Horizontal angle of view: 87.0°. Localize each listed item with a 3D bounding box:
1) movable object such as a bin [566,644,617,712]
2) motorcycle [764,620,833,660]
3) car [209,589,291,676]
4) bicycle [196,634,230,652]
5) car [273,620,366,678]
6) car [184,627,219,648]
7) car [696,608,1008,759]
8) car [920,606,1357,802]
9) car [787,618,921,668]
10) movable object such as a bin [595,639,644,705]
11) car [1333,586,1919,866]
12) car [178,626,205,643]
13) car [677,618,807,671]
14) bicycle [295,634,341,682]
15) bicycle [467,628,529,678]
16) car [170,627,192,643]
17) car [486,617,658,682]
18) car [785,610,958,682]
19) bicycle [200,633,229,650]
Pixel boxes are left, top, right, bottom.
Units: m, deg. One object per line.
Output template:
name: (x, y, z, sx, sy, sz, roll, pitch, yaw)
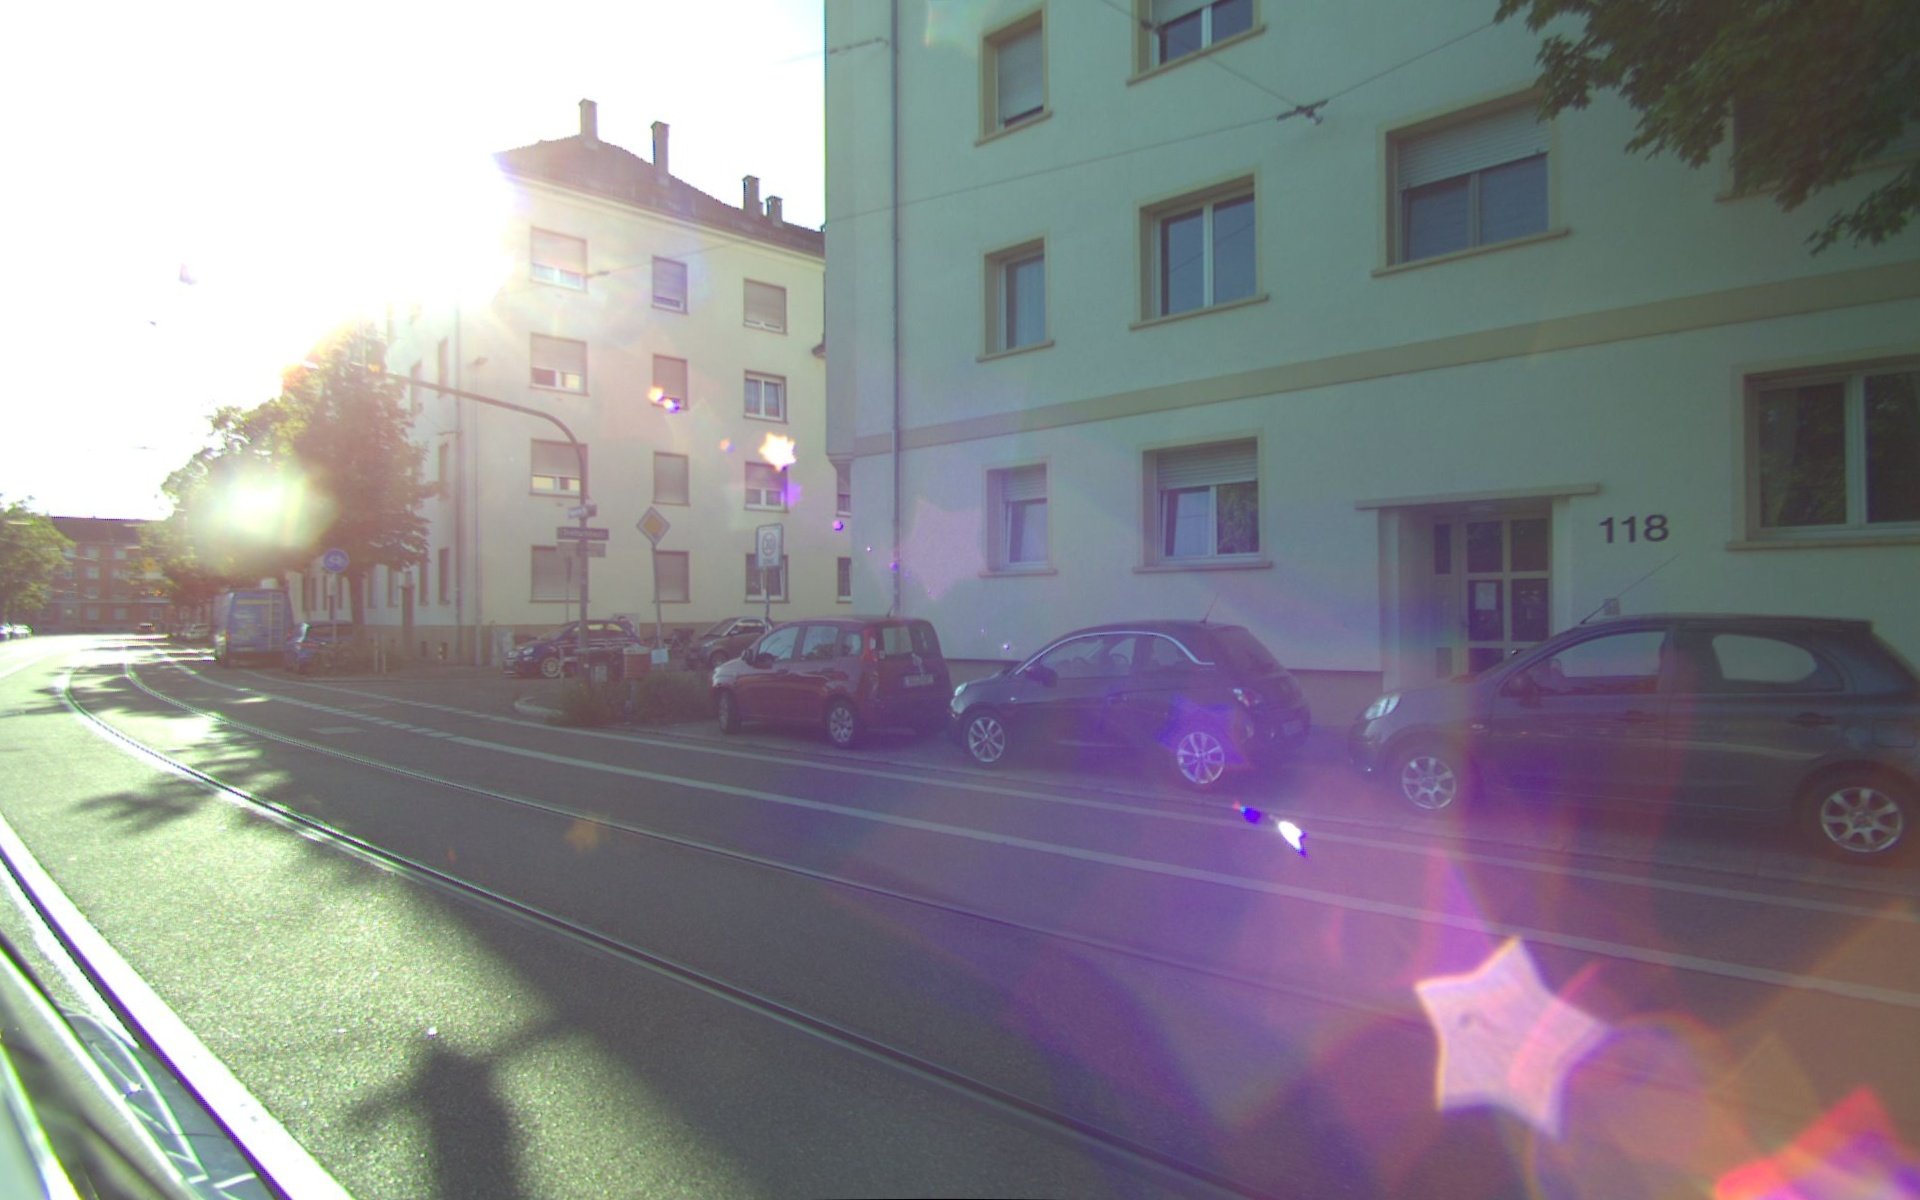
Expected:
movable object such as a bin: (-5.766, 1.206, 15.816, 0.659, 0.995, 0.479, -2, 0, 43)
motorcycle: (-5.593, 1.366, 35.166, 0.625, 1.317, 2.517, 0, -1, 42)
car: (-25.783, 1.120, 36.641, 1.992, 2.847, 6.043, -1, 0, -39)
bicycle: (-46.812, 2.692, 63.441, 0.525, 1.048, 1.984, -1, 0, 4)
car: (-19.849, 1.460, 31.268, 1.769, 1.572, 4.649, -2, 1, -40)
car: (-58.600, 2.865, 78.144, 1.841, 1.502, 4.669, -1, 0, -40)
car: (-1.472, 0.916, 12.629, 4.001, 1.541, 1.670, -1, 0, 44)
car: (1.651, 0.866, 9.945, 3.852, 1.541, 1.769, -1, -1, 38)
car: (-3.371, 1.331, 32.617, 4.117, 1.469, 1.712, 0, -1, -43)
movable object such as a bin: (-5.448, 1.140, 16.185, 0.659, 0.995, 0.479, -2, 0, 43)
car: (4.884, 0.762, 7.426, 3.723, 1.626, 1.577, -1, 0, 36)
car: (-73.337, 3.277, 96.541, 1.850, 1.439, 4.300, -1, 0, -40)
car: (-6.388, 1.259, 29.864, 3.467, 1.469, 1.580, 1, -2, -44)
bicycle: (-16.607, 1.479, 26.151, 2.031, 1.143, 0.506, -1, 0, 43)
bicycle: (-12.389, 1.403, 27.177, 0.397, 1.238, 1.485, 2, 2, 41)
car: (-77.466, 3.493, 100.665, 1.552, 1.516, 4.007, -1, 0, -40)
car: (-10.129, 1.241, 26.578, 3.841, 1.469, 1.770, -1, 0, -44)
car: (-2.166, 1.080, 25.262, 3.939, 1.541, 1.909, -1, 0, -42)
bicycle: (-49.050, 2.741, 66.600, 0.659, 1.048, 1.787, -1, 0, -3)
